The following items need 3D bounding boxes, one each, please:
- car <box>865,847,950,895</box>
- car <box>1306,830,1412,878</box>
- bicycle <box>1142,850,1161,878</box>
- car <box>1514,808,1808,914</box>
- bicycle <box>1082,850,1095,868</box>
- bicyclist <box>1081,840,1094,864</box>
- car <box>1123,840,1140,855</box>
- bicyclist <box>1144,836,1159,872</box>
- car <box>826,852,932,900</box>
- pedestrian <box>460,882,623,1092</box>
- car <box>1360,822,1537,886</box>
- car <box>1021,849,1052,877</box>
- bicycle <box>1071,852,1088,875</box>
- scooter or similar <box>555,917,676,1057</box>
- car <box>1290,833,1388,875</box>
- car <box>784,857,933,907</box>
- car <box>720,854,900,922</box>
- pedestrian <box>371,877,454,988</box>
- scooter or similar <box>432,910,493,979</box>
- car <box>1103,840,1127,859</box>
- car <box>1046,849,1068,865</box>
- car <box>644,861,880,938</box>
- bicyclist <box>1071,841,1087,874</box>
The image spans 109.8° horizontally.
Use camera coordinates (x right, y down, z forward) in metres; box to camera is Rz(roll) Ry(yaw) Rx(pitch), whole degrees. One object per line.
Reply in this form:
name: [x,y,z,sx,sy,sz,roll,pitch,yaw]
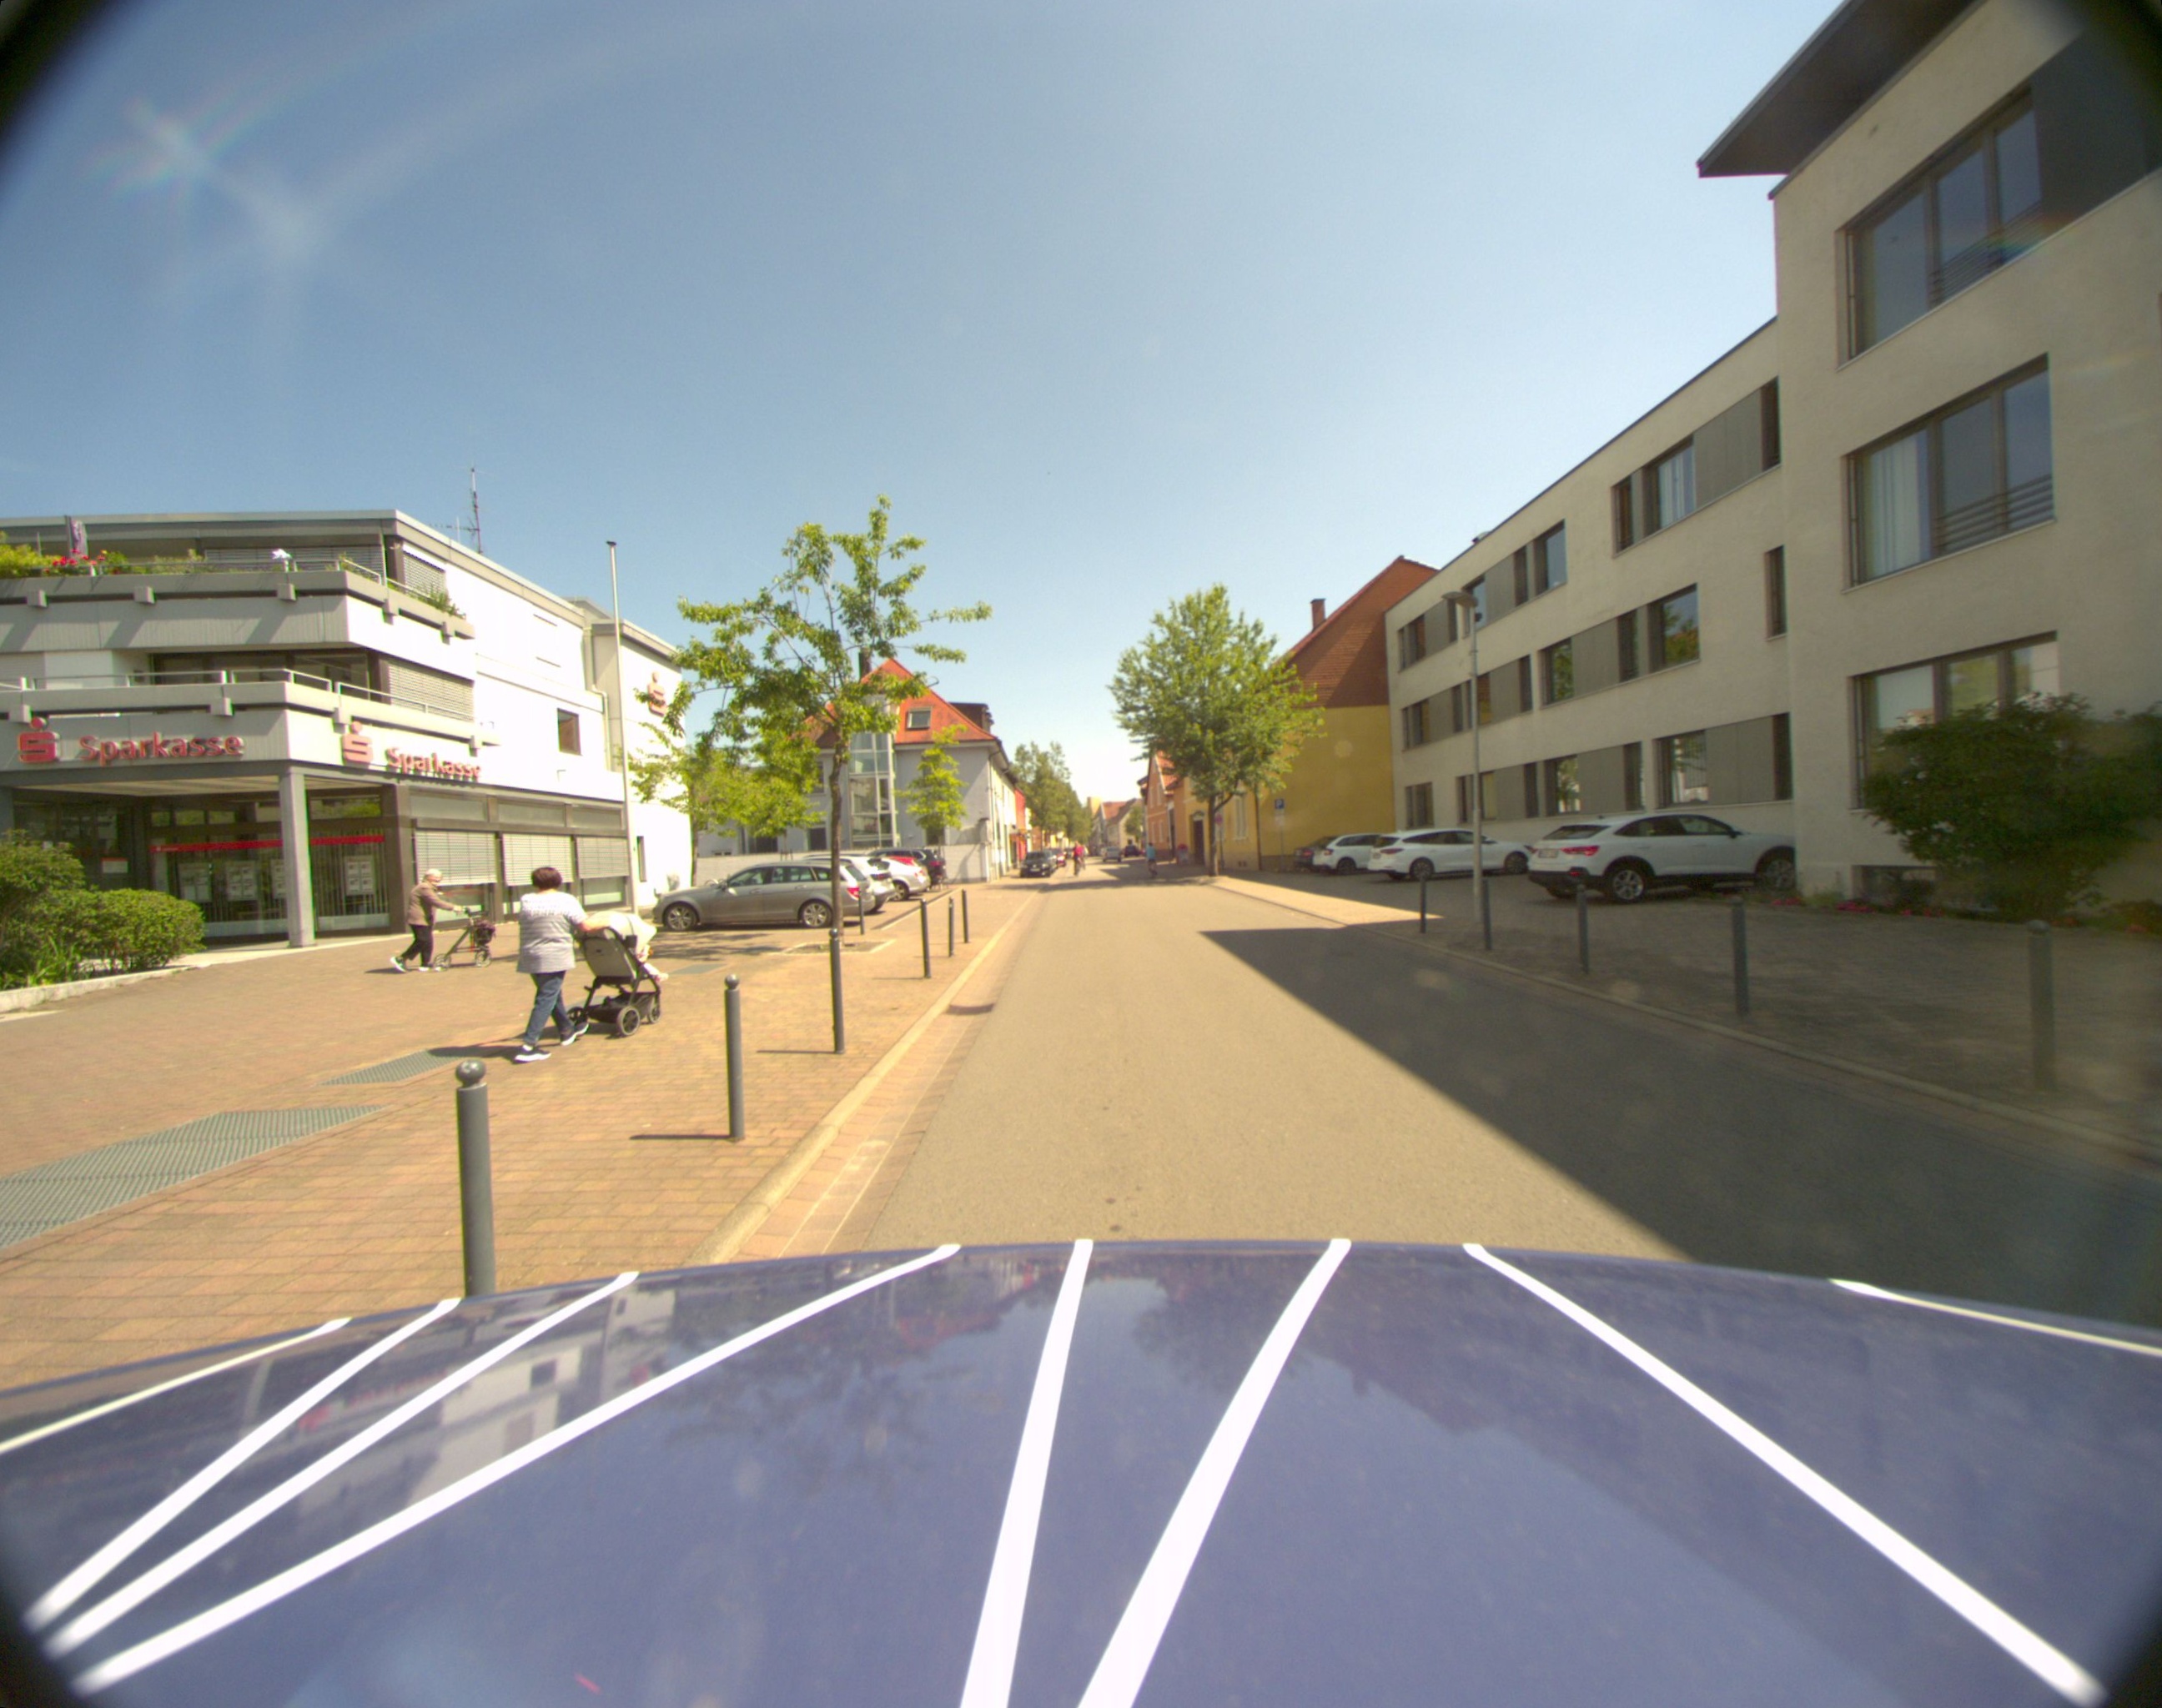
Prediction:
car: [-6.704,0.641,29.554,3.041,1.727,1.344,-1,1,-5]
car: [9.928,-0.004,27.280,3.139,1.442,1.642,-4,1,1]
bicycle: [3.212,0.441,34.746,0.595,1.183,1.724,-3,1,-2]
car: [10.394,0.106,13.824,3.997,1.539,1.748,-4,1,-2]
bicycle: [0.478,0.344,51.994,0.690,1.183,1.798,-4,1,-3]
bicyclist: [0.435,-0.129,52.053,0.703,1.573,0.878,-4,2,-3]
car: [6.603,-0.858,99.784,1.826,1.805,3.999,-2,1,-1]
bicyclist: [3.210,-0.005,34.675,0.538,1.630,0.551,-2,1,-2]
car: [-7.218,0.780,27.413,3.431,1.543,1.490,-2,1,-5]
pedestrian: [-4.309,1.007,6.148,0.513,1.507,1.048,-1,1,1]
car: [10.598,-0.011,22.088,4.324,1.470,1.513,-4,1,0]
car: [-2.504,0.478,42.337,1.530,1.444,3.519,-1,1,-6]
bicycle: [-0.108,0.522,41.707,0.738,1.183,1.970,-4,1,-3]
scooter or similar: [-4.217,1.174,6.949,0.505,1.112,0.909,-1,1,1]
car: [9.965,-0.016,29.490,3.258,1.393,1.374,-4,1,-2]
car: [-7.168,0.873,24.879,4.446,1.434,1.655,-1,1,-8]
car: [-6.866,0.838,19.596,4.047,1.550,1.711,-1,1,-6]
pedestrian: [-9.619,1.102,10.940,0.530,1.492,0.725,-1,1,35]
scooter or similar: [-9.289,1.339,11.409,0.535,0.940,0.548,-1,1,36]
car: [3.254,-0.475,73.378,1.999,1.696,3.999,-2,1,-1]
car: [-1.969,0.225,61.922,1.530,1.298,3.248,-1,1,-6]
car: [-6.859,0.949,16.730,4.446,1.457,1.689,-1,2,-6]
bicyclist: [-0.107,0.188,41.642,0.703,1.707,0.759,-4,2,-3]
